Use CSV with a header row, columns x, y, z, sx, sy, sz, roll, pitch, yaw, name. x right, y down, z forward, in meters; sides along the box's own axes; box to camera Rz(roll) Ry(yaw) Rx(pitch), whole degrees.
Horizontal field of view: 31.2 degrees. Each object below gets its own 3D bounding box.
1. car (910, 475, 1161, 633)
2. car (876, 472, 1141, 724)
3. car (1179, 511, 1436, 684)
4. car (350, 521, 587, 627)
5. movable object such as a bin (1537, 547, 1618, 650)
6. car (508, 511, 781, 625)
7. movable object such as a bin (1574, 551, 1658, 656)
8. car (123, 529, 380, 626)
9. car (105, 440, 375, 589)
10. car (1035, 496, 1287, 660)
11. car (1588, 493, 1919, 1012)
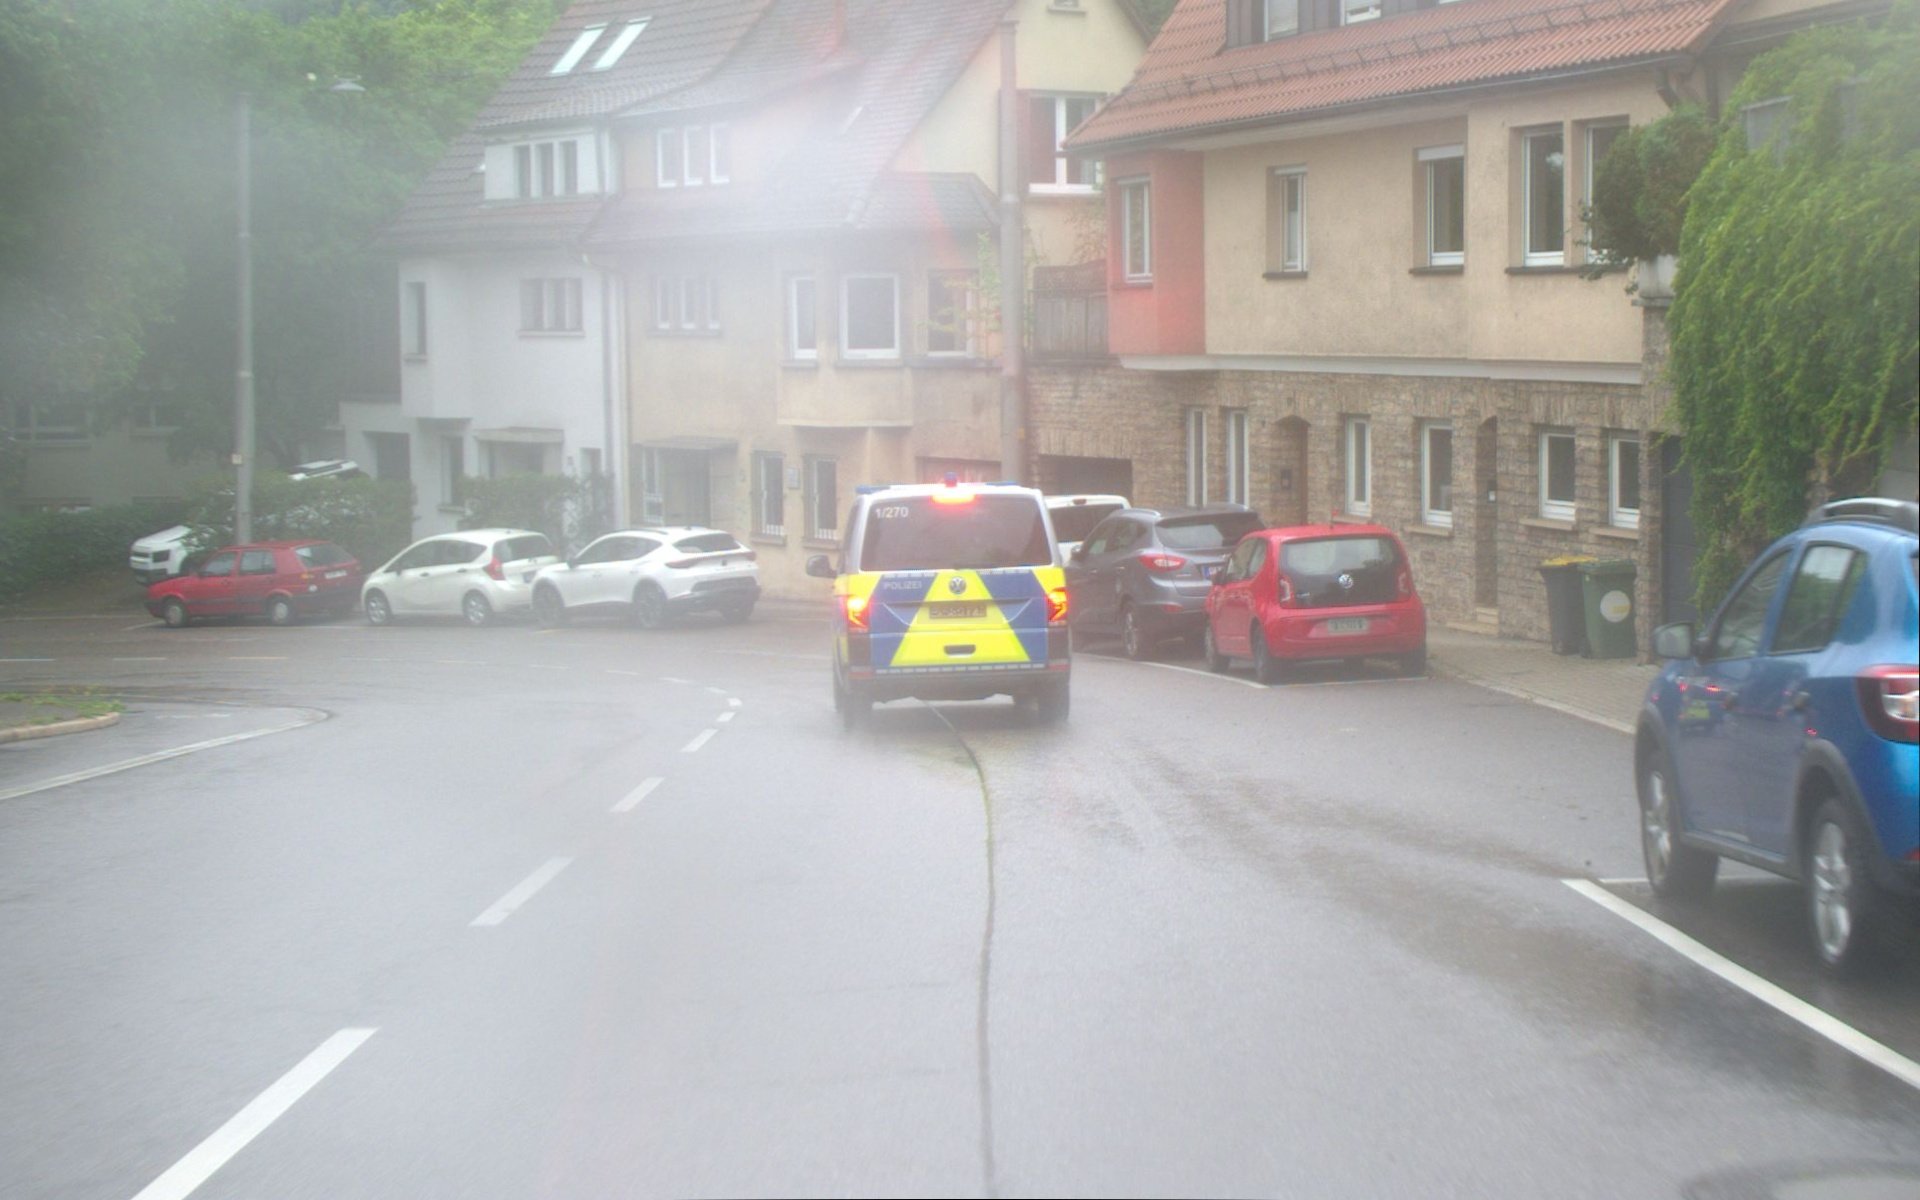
x,y,z,sx,sy,sz,roll,pitch,yaw,name
0.910,-0.630,44.173,1.705,1.784,4.327,-6,3,-19,car
0.327,-0.025,29.242,1.993,1.887,4.570,-3,0,-1,car
3.392,-0.069,34.168,1.615,1.430,3.582,-5,3,-8,car
-8.145,-0.422,56.784,3.820,1.509,1.766,-2,4,43,car
5.998,-0.019,33.386,0.587,0.920,0.508,-5,3,-6,movable object such as a bin
-4.933,-0.483,53.299,1.915,1.533,4.413,-7,4,-40,car
6.220,0.029,32.621,0.595,0.920,0.514,-5,3,-6,movable object such as a bin
-12.340,-0.391,59.862,4.189,1.362,1.783,-3,4,31,car
-13.860,-1.680,66.244,4.398,1.835,2.000,-16,11,-29,car
2.227,-0.309,39.307,1.615,1.599,4.413,-5,3,-12,car
3.638,0.405,12.824,1.733,1.588,4.254,-1,2,-1,car
